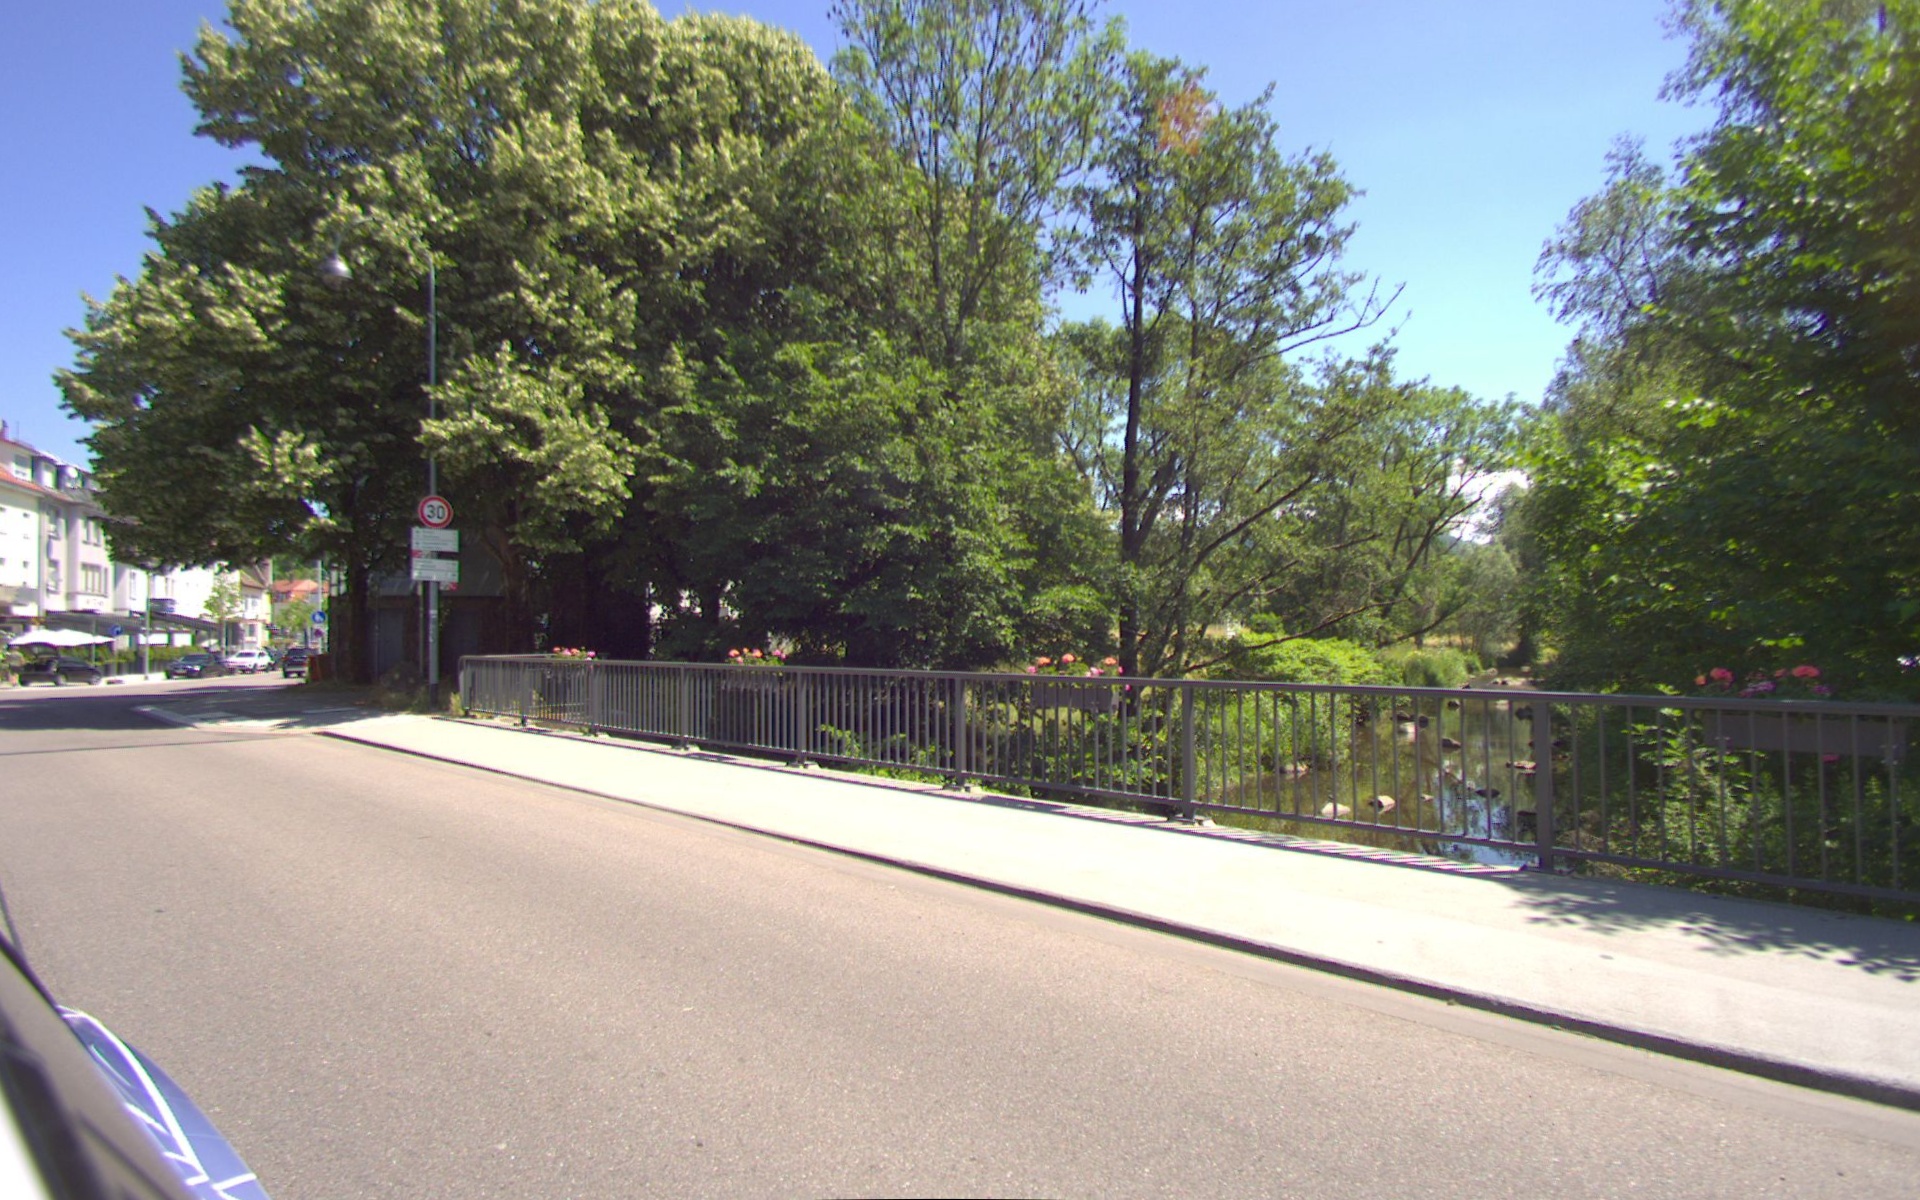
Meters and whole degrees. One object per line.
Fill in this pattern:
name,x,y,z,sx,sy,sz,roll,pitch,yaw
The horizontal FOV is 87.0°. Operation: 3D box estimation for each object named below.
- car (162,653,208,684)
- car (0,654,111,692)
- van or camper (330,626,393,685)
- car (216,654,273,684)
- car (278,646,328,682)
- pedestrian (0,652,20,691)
car,-44.974,3.949,58.684,1.968,1.729,4.007,2,-5,-39
car,-43.064,3.459,48.153,1.972,1.729,4.000,-1,-4,-1
van or camper,-31.516,2.858,53.424,1.966,2.826,5.054,-3,0,-22
car,-46.978,4.515,66.518,1.966,1.696,4.013,-1,-1,-19
car,-36.140,3.553,55.768,1.965,1.855,4.012,0,-4,-28
pedestrian,-44.274,3.326,46.921,0.802,1.768,0.637,2,-2,-26
